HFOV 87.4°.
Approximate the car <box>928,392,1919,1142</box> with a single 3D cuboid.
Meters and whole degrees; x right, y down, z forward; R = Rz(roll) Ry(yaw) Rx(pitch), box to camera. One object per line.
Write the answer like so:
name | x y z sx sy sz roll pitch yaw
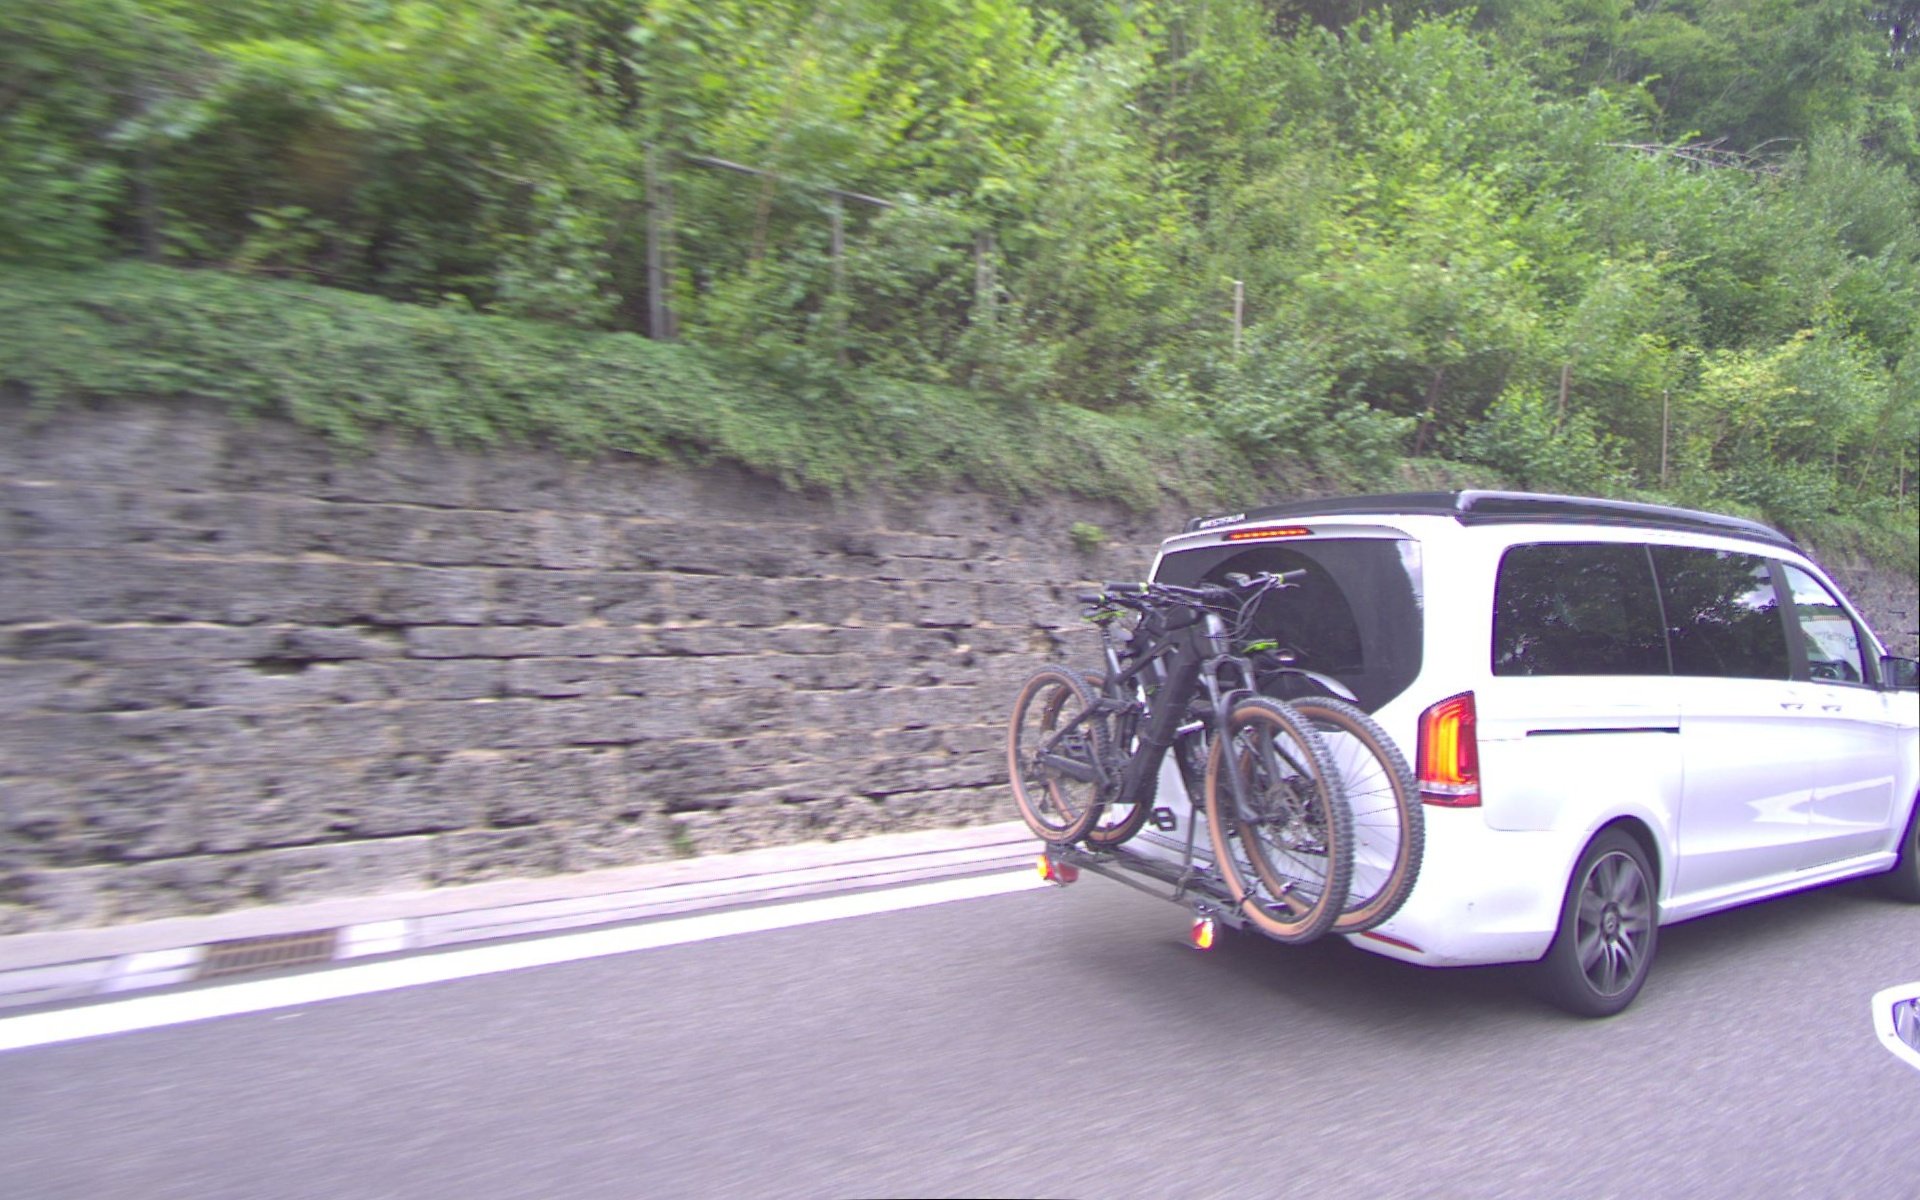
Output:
car | 2.981 0.481 5.052 6.075 1.979 1.984 1 0 -30
